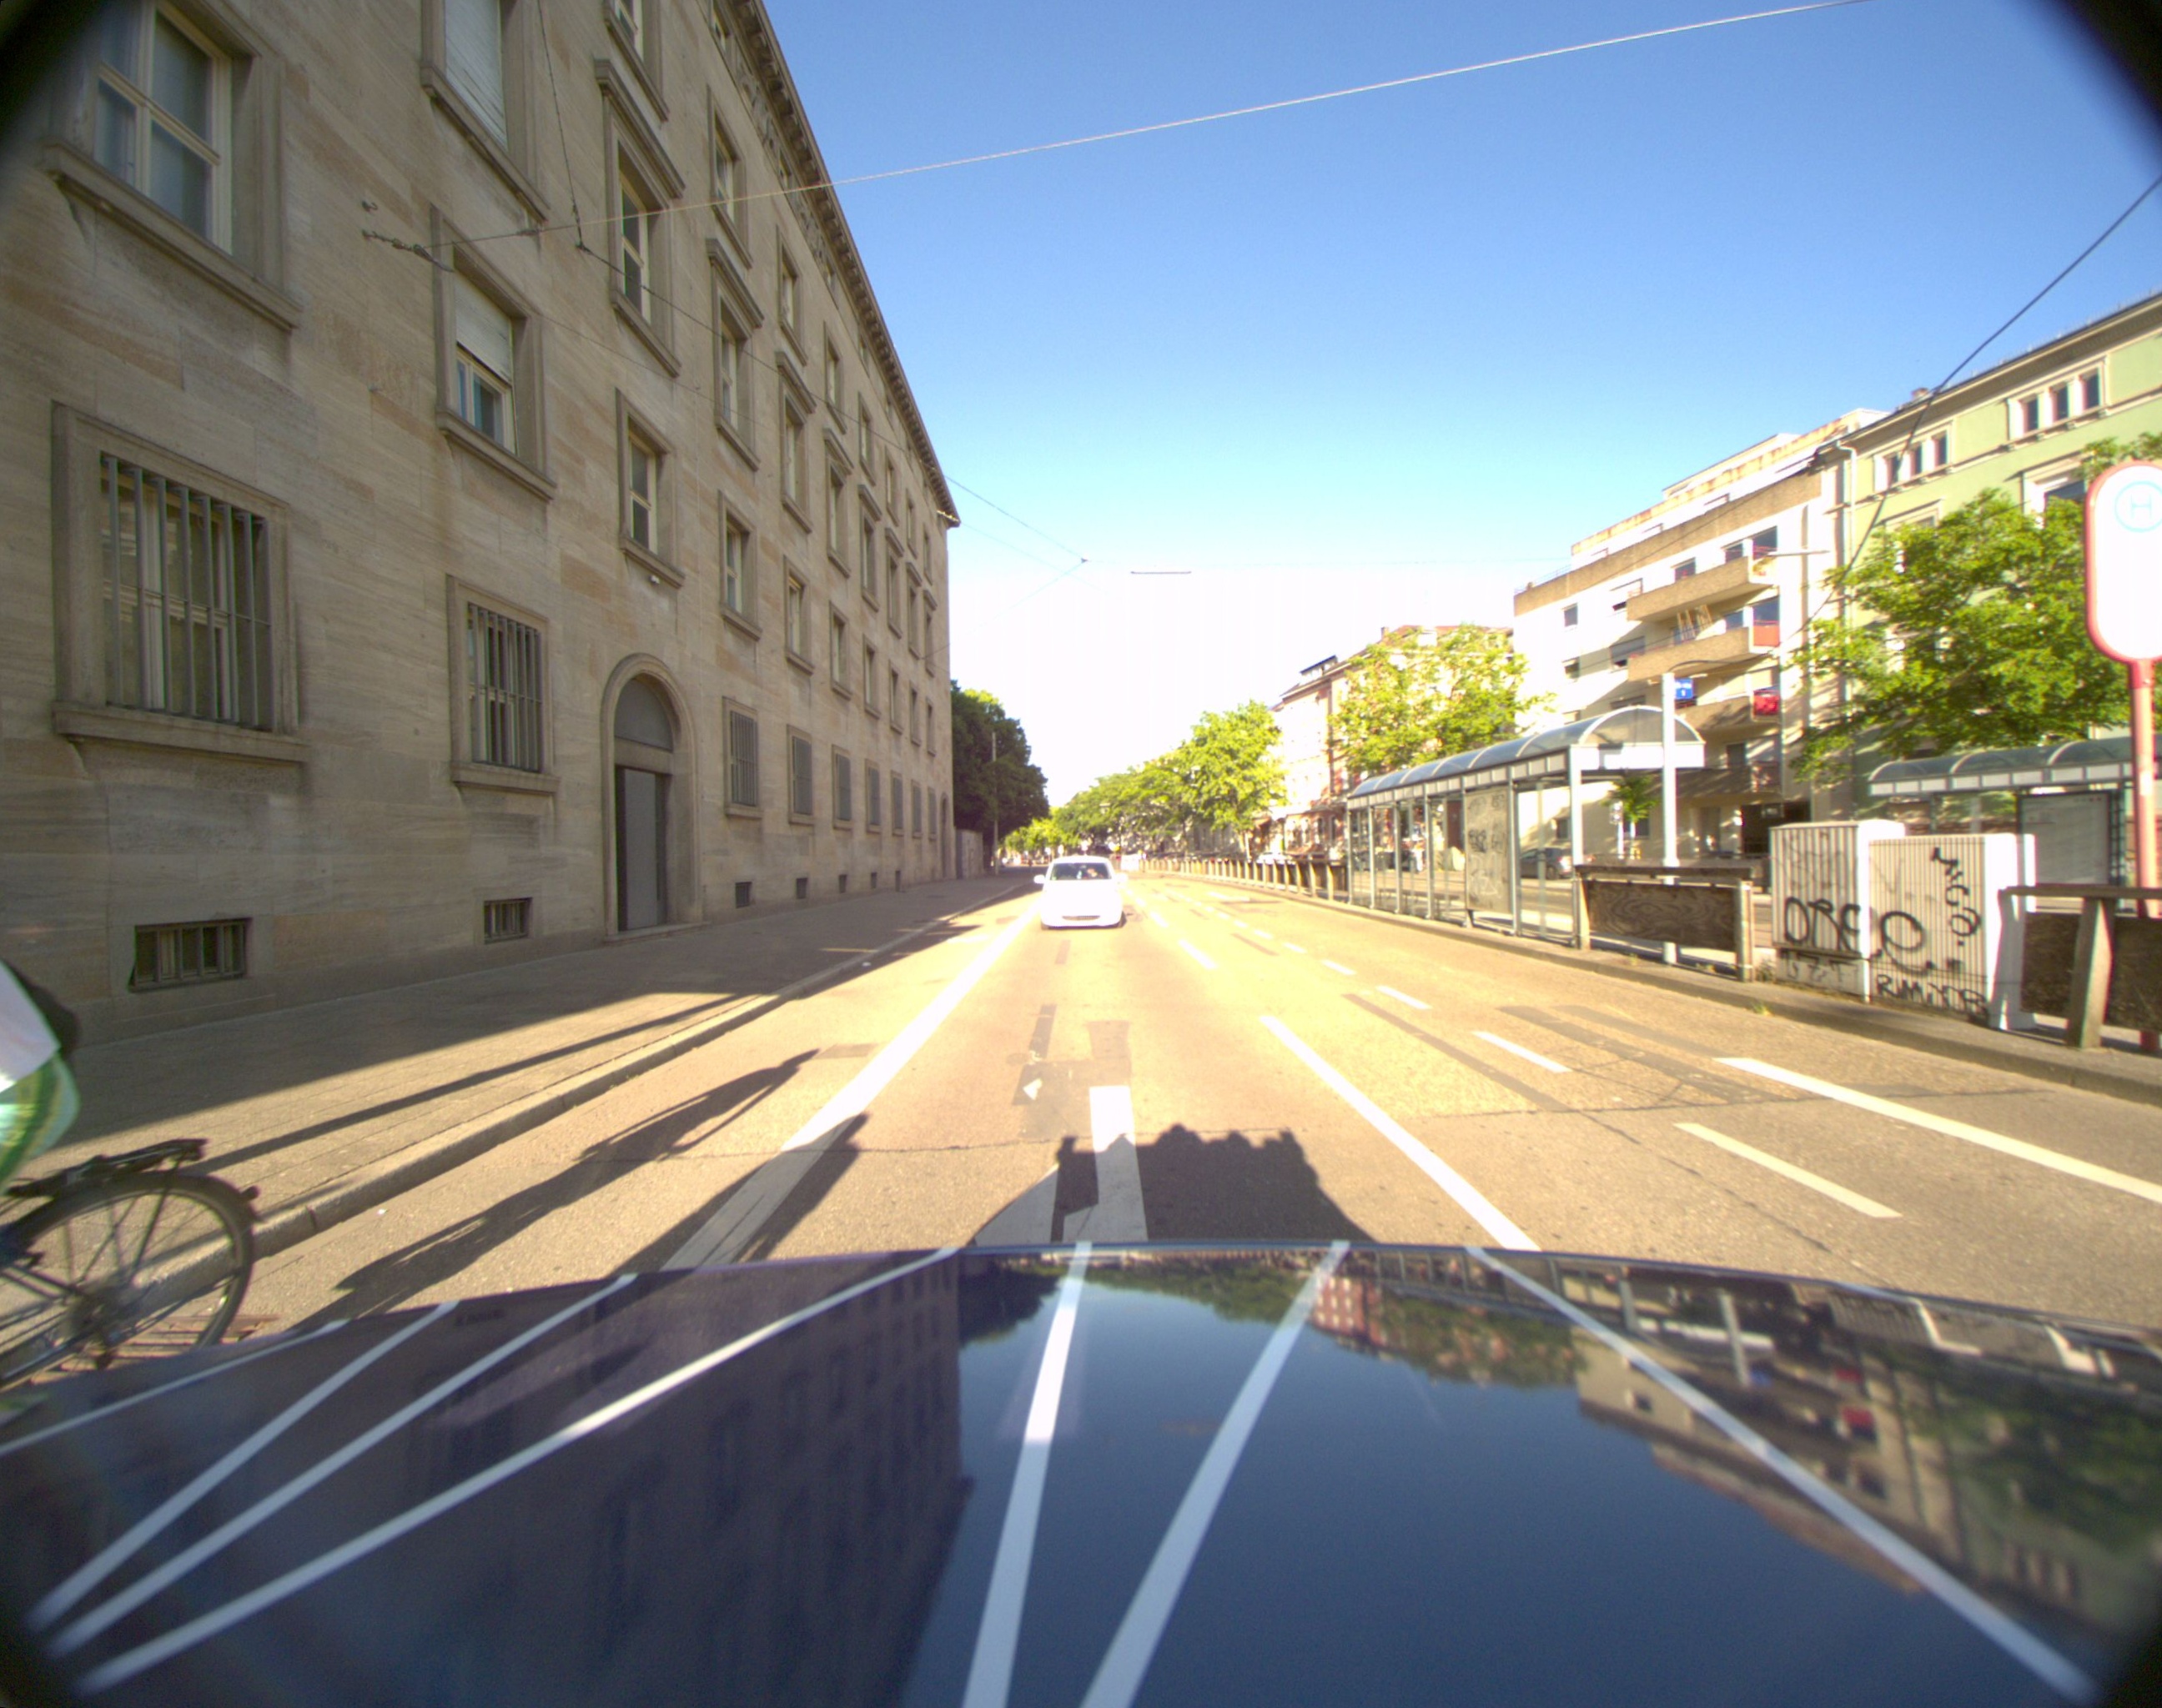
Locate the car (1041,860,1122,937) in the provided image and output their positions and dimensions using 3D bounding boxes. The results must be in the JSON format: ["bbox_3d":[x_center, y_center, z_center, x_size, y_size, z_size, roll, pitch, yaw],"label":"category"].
[{"bbox_3d":[0.034,0.883,16.641,1.571,1.455,3.687,0,0,1],"label":"car"}]

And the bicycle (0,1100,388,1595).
[{"bbox_3d":[-2.739,1.292,1.739,0.427,0.870,1.952,-1,-1,4],"label":"bicycle"}]

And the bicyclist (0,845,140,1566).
[{"bbox_3d":[-2.780,0.819,1.581,0.523,1.670,0.859,-1,1,1],"label":"bicyclist"}]

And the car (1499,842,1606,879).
[{"bbox_3d":[21.035,0.276,34.126,2.000,1.521,3.997,-1,0,-8],"label":"car"}]

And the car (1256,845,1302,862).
[{"bbox_3d":[16.483,-0.042,63.292,3.648,1.342,1.578,-2,1,-29],"label":"car"}]

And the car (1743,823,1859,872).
[{"bbox_3d":[31.522,-0.291,33.305,4.001,2.002,1.798,-1,1,-13],"label":"car"}]

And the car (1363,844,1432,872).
[{"bbox_3d":[18.520,0.210,44.658,2.000,1.521,3.997,-1,0,-8],"label":"car"}]
